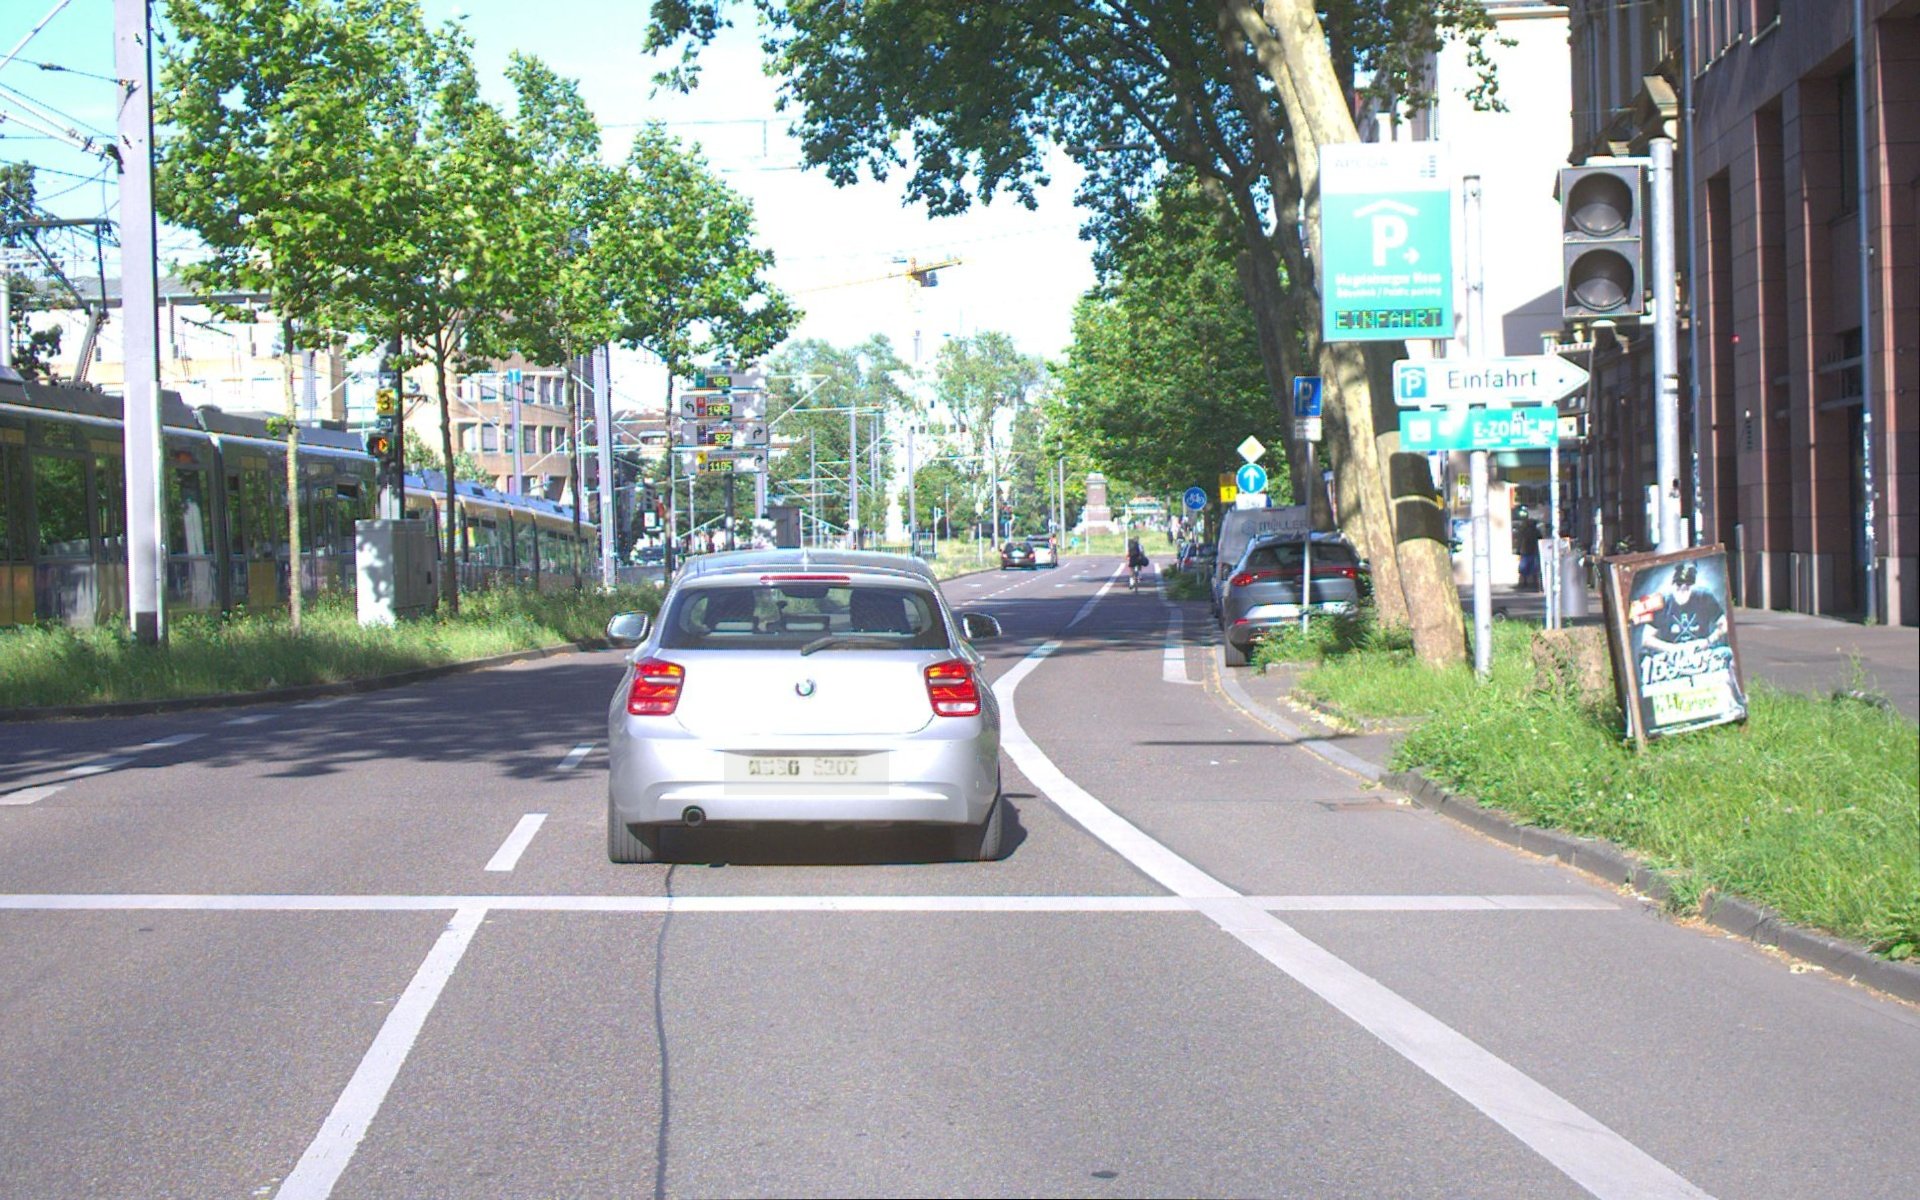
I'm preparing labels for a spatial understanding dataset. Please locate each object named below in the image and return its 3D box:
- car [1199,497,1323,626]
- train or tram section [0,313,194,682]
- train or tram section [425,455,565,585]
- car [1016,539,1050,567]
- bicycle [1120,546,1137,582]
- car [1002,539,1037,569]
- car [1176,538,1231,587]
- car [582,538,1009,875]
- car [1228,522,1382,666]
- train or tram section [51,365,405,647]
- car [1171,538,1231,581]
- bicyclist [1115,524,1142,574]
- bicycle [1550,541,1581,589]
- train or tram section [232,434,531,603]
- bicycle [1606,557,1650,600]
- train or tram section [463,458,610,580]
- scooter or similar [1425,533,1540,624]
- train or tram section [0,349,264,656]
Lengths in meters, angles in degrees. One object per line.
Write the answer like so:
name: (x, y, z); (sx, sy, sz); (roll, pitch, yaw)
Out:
car: (4.929, -0.646, 56.786); (1.856, 2.007, 4.723); (1, 1, 3)
train or tram section: (-11.358, -1.097, 36.843); (2.928, 3.799, 14.274); (1, 1, 1)
train or tram section: (-12.849, -2.212, 95.462); (2.956, 3.472, 6.060); (0, 1, 1)
car: (3.814, -2.450, 179.610); (1.644, 1.416, 4.000); (0, 1, 3)
bicycle: (5.184, -1.111, 105.608); (0.499, 1.085, 1.997); (1, 1, 3)
car: (2.945, -2.319, 171.665); (1.726, 1.465, 4.410); (0, 1, 1)
car: (8.164, -1.260, 115.428); (1.695, 1.497, 3.801); (-3, 1, 3)
car: (-0.743, 0.423, 16.647); (1.798, 1.410, 4.000); (1, 1, -1)
car: (3.978, -0.092, 40.146); (1.668, 1.565, 4.279); (1, 1, 5)
train or tram section: (-11.063, -1.391, 53.249); (2.953, 3.883, 10.803); (1, 1, 1)
car: (8.603, -1.461, 123.003); (2.039, 1.504, 4.593); (-1, 1, 3)
bicyclist: (5.179, -1.574, 105.654); (0.785, 1.526, 0.895); (1, 1, 3)
bicycle: (12.750, -0.741, 72.403); (0.414, 0.994, 1.882); (0, 1, 3)
train or tram section: (-13.314, -1.908, 81.824); (2.963, 3.472, 21.218); (0, 1, 2)
bicycle: (12.616, -0.404, 64.963); (0.549, 0.771, 1.663); (-2, 1, 3)
train or tram section: (-12.723, -2.431, 104.202); (2.961, 3.472, 11.287); (0, 1, 1)
scooter or similar: (7.300, -0.307, 48.038); (1.541, 1.233, 0.449); (-1, 1, 4)
train or tram section: (-11.220, -1.282, 45.898); (2.955, 3.883, 3.866); (1, 1, 1)
